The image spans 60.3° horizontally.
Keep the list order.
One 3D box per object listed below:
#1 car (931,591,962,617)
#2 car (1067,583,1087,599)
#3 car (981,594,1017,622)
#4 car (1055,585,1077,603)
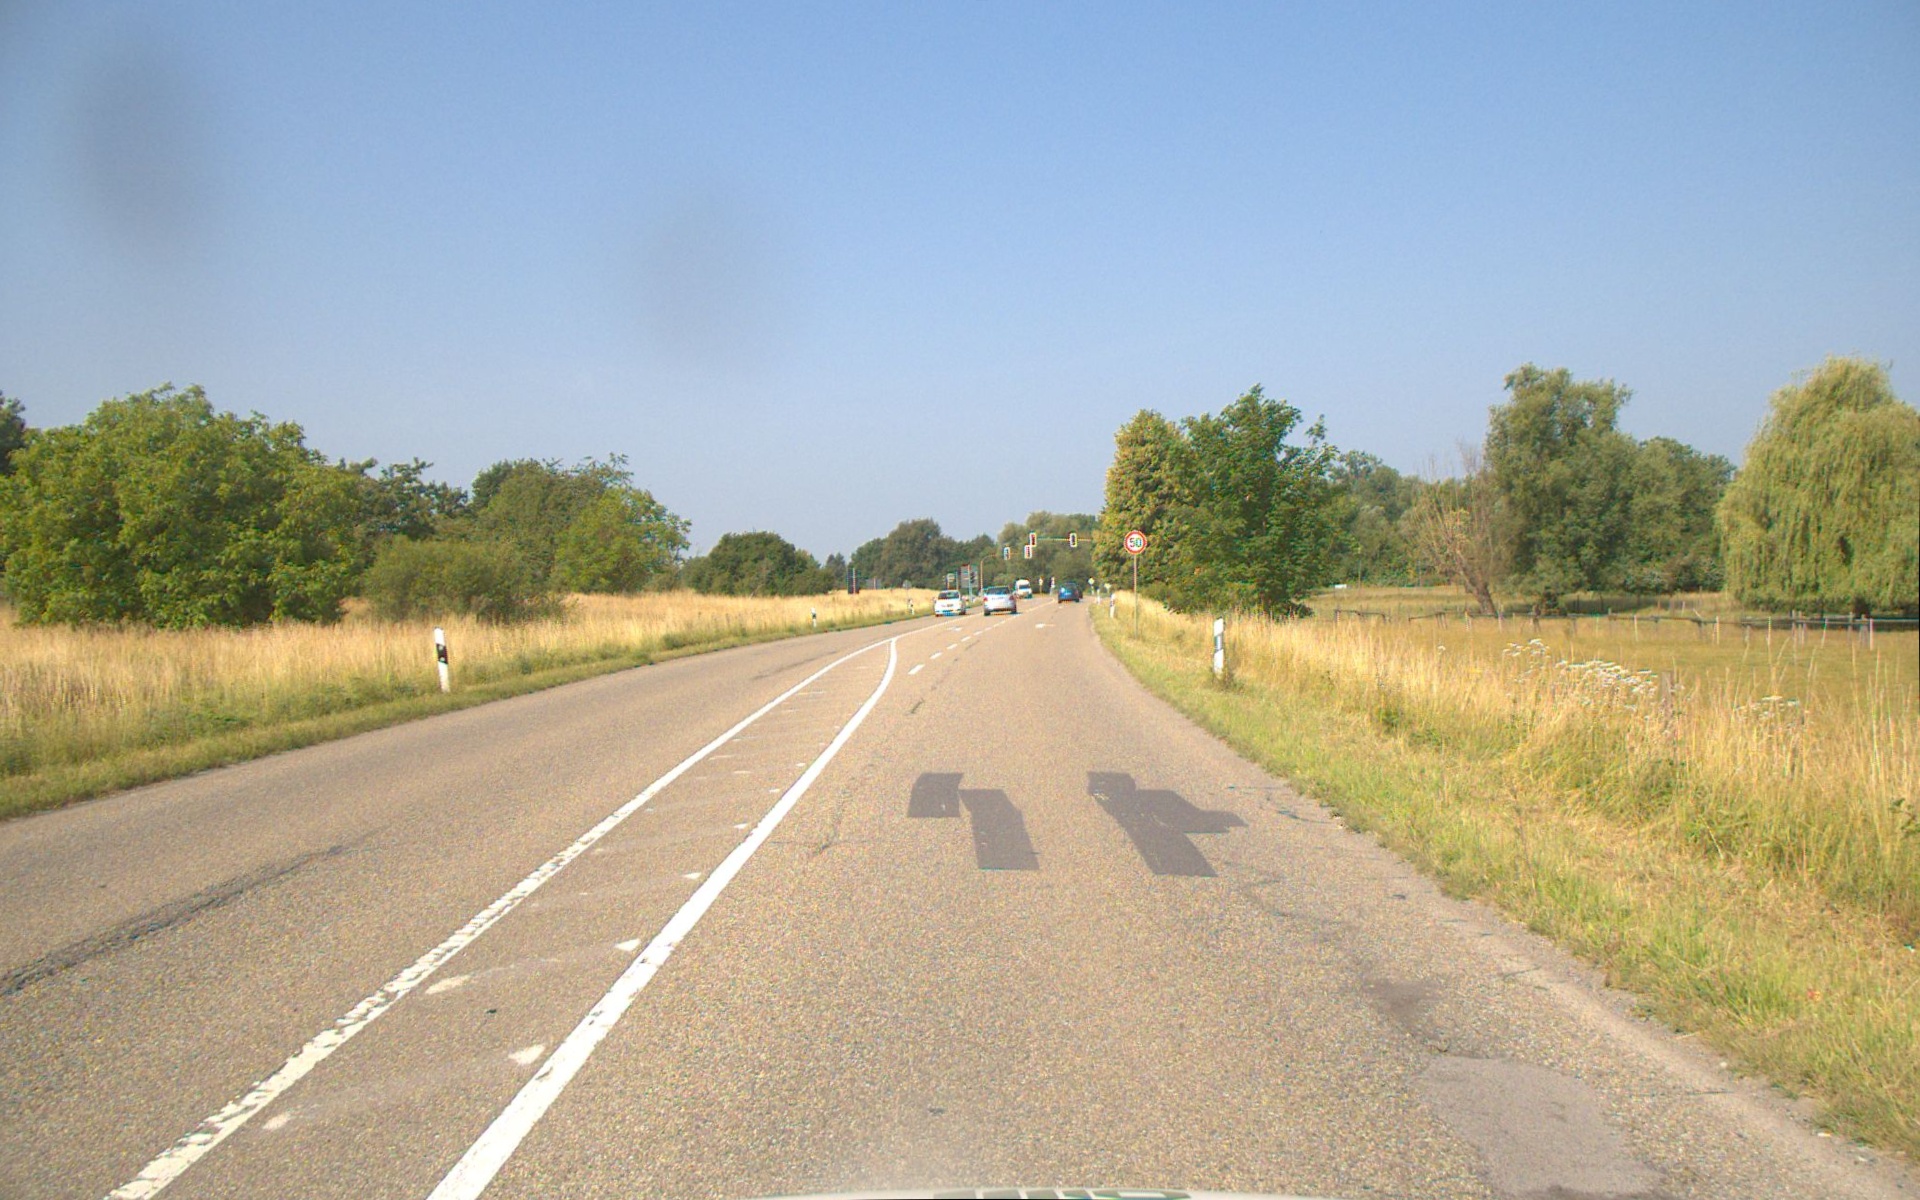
[{"bbox_3d":[-0.842,0.219,105.987,1.774,1.613,4.226,1,0,3],"label":"car"},{"bbox_3d":[12.084,-0.969,170.989,1.803,1.579,4.000,1,0,-1],"label":"car"},{"bbox_3d":[2.275,0.462,95.197,1.859,1.538,4.002,1,0,4],"label":"car"},{"bbox_3d":[9.123,-0.529,142.423,1.778,1.547,4.002,-2,0,4],"label":"car"}]
